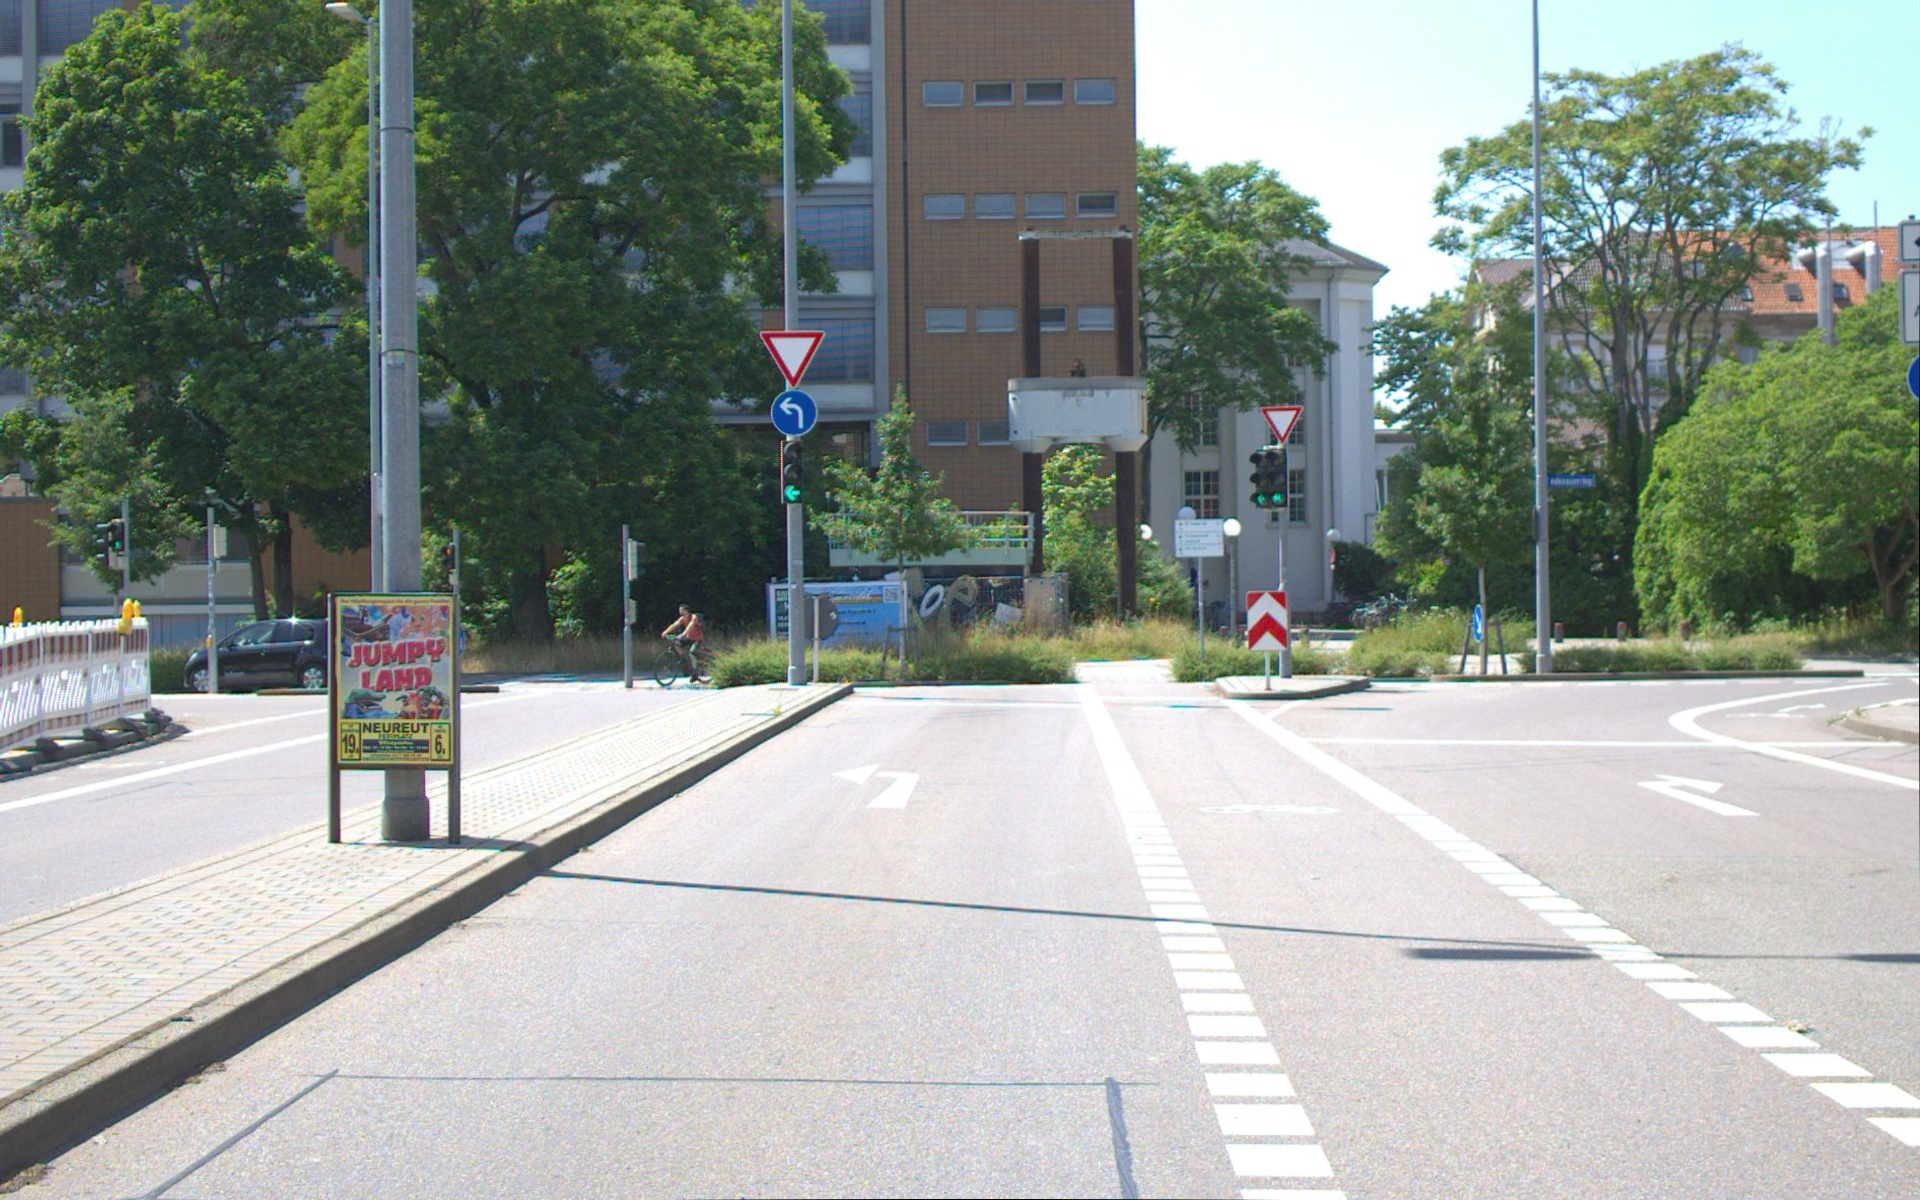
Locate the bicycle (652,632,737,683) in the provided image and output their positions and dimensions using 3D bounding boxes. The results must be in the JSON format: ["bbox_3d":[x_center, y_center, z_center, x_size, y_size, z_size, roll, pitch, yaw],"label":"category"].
[{"bbox_3d":[-5.794,1.246,75.037,0.558,1.042,1.992,1,2,43],"label":"bicycle"}]

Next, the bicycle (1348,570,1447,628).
[{"bbox_3d":[15.670,-0.036,123.267,3.447,2.007,0.760,1,0,4],"label":"bicycle"}]

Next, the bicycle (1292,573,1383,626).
[{"bbox_3d":[14.807,-0.031,134.939,3.447,2.007,0.760,1,0,4],"label":"bicycle"}]

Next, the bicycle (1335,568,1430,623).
[{"bbox_3d":[15.861,-0.166,128.994,3.447,2.007,0.760,1,0,4],"label":"bicycle"}]

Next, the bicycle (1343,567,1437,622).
[{"bbox_3d":[16.351,-0.222,130.720,3.447,2.007,0.760,1,0,4],"label":"bicycle"}]

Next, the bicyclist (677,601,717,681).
[{"bbox_3d":[-5.744,0.895,75.104,0.551,1.710,0.701,1,2,42],"label":"bicyclist"}]

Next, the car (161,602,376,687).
[{"bbox_3d":[-13.492,0.864,67.157,3.764,1.547,1.617,1,0,13],"label":"car"}]
